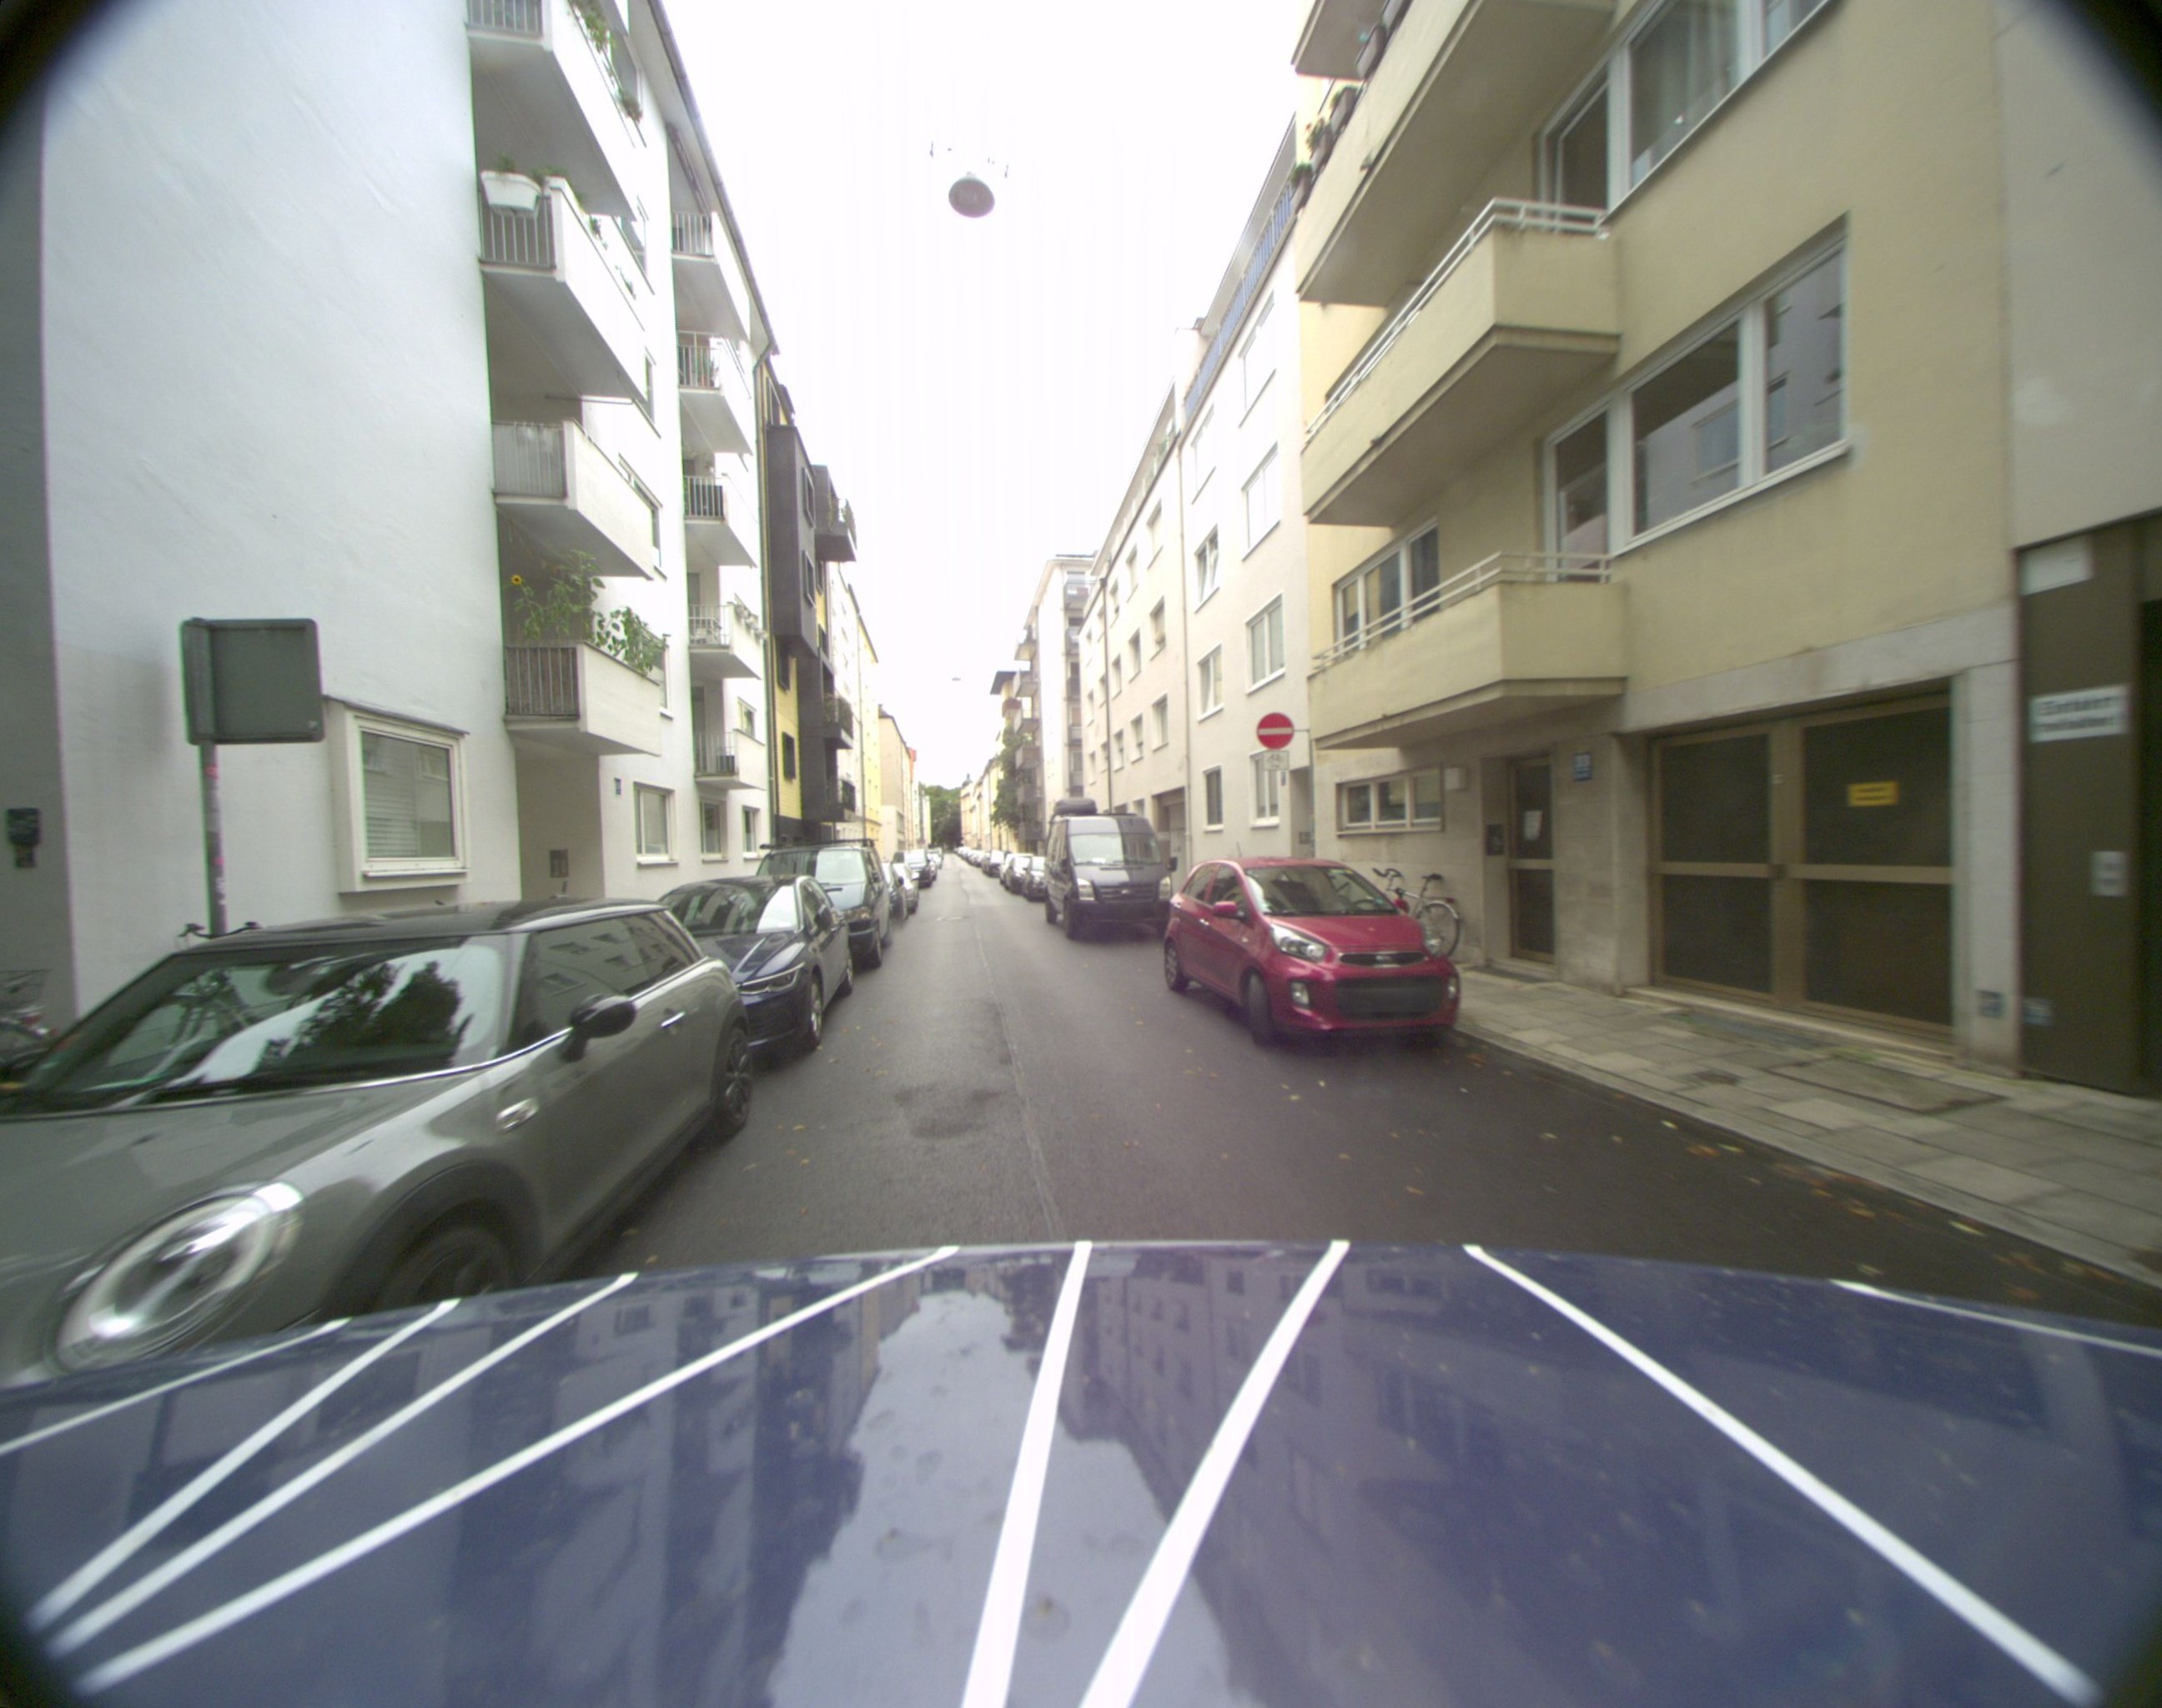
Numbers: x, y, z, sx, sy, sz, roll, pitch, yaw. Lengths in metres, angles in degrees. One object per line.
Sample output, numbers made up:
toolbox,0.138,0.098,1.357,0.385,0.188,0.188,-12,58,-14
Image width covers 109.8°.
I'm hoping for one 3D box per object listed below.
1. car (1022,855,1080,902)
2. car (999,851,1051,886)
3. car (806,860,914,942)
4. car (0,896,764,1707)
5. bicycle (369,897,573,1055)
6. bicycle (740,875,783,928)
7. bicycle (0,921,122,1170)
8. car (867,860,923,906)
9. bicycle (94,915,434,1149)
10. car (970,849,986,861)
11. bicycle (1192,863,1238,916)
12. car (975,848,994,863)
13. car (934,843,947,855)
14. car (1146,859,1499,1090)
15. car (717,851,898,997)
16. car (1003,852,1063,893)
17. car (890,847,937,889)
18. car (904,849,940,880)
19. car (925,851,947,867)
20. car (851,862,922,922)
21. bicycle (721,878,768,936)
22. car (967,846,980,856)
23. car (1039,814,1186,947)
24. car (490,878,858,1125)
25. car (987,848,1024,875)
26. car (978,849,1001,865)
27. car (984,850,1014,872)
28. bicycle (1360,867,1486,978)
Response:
car,-1.093,0.774,25.999,1.617,1.438,3.739,0,1,-8
car,-2.680,0.626,35.531,1.918,1.429,4.803,-2,1,-10
car,-5.131,0.996,18.261,1.912,1.545,4.620,-2,1,-10
car,-2.644,1.033,2.782,1.749,1.433,3.996,-2,1,-8
bicycle,-6.078,1.128,7.773,0.625,1.213,2.246,-3,1,-12
bicycle,-7.770,1.131,18.544,0.572,1.144,1.561,-3,1,-10
bicycle,-6.440,1.042,3.884,1.855,1.223,0.577,-3,1,-17
car,-6.782,0.993,28.033,1.740,1.421,4.198,-2,1,-11
bicycle,-5.708,1.143,5.519,0.561,1.213,1.916,-3,1,-9
car,-13.798,0.083,101.511,1.897,1.444,4.291,-2,1,-10
bicycle,3.068,0.784,17.570,0.464,1.091,1.868,-3,1,-8
car,-10.736,0.142,84.124,1.897,1.444,4.291,-2,1,-10
car,-20.861,-0.720,112.982,1.897,1.621,4.291,-2,1,-10
car,1.898,0.846,7.186,1.625,1.488,3.705,-2,1,-10
car,-4.124,0.894,12.303,1.881,1.781,4.777,-2,1,-10
car,-1.984,0.692,30.488,1.807,1.409,4.221,-2,1,-11
car,-8.462,0.646,38.726,1.989,1.829,5.178,-4,2,-10
car,-9.665,0.608,46.440,1.968,1.665,4.536,-2,1,-10
car,-14.469,0.468,75.903,1.973,1.369,4.291,-2,1,-10
car,-5.856,1.068,23.292,1.765,1.423,4.256,-5,2,-11
bicycle,-7.466,1.155,16.893,0.572,1.144,1.429,-3,1,-10
car,-16.596,-0.434,117.296,1.897,1.444,4.291,-2,1,-10
car,0.416,0.411,15.699,2.025,2.266,5.385,0,1,-9
car,-3.316,1.042,7.173,1.839,1.411,4.054,-2,1,-10
car,-4.862,0.438,48.429,1.973,1.598,4.535,-2,1,-10
car,-8.859,0.277,73.333,1.973,1.369,4.291,-2,1,-10
car,-5.910,0.473,54.330,1.819,1.434,4.291,-2,1,-10
bicycle,4.033,0.752,9.102,0.469,1.142,1.758,-3,1,-8
